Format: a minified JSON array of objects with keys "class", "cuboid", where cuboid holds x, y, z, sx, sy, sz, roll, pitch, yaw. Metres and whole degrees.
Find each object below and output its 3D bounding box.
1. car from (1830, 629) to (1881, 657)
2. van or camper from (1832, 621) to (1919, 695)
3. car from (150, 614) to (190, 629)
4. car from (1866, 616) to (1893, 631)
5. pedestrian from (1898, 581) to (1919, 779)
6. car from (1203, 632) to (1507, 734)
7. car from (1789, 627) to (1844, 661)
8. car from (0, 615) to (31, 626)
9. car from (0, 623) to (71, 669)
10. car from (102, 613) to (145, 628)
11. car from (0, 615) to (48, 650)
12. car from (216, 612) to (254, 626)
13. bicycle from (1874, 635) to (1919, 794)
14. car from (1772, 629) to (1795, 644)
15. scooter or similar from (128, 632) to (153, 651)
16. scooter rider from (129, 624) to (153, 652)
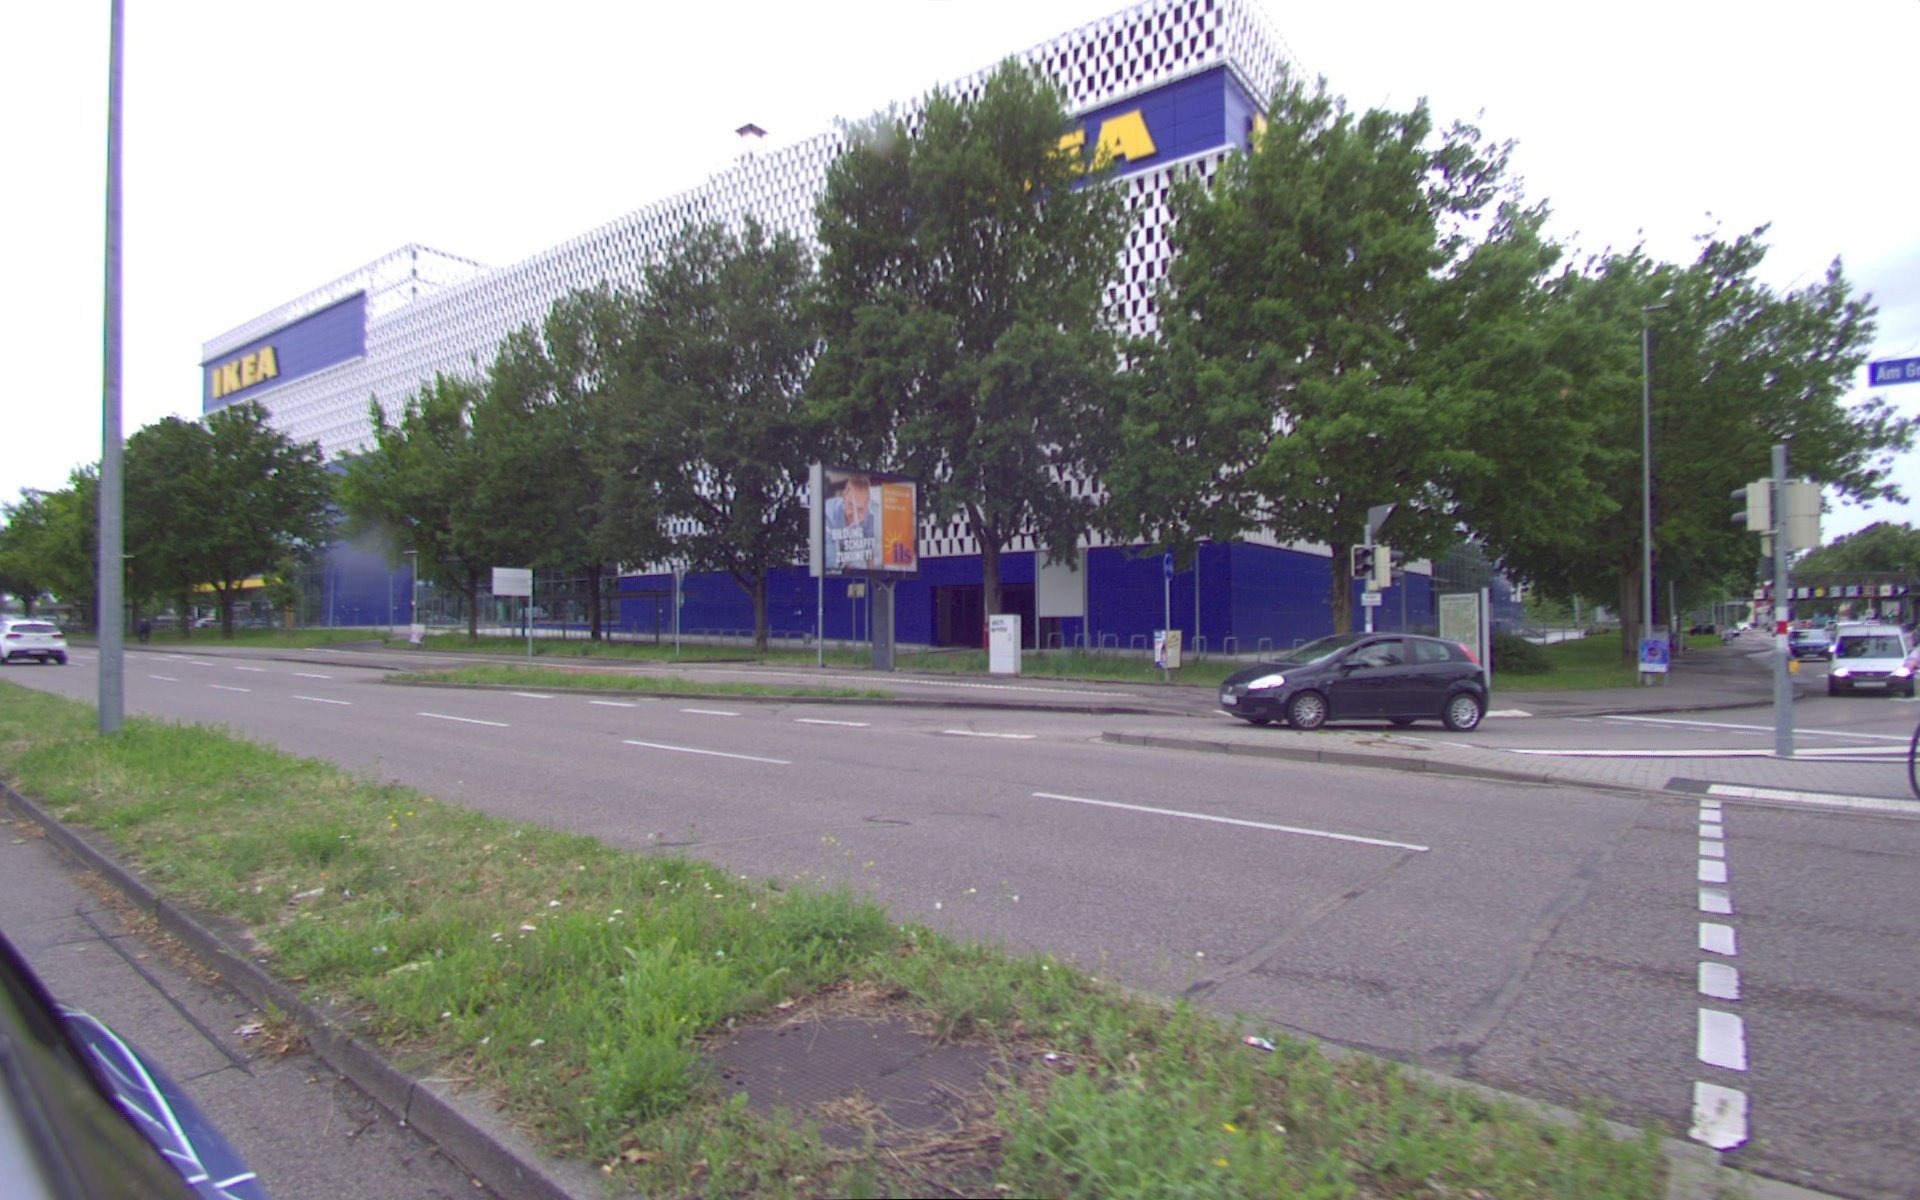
[{"class":"car","cuboid":[60.958,2.907,68.932,1.996,1.606,4.521,-6,-4,36]},{"class":"van or camper","cuboid":[23.419,1.462,25.405,2.001,1.735,4.330,-3,-4,45]},{"class":"car","cuboid":[-109.698,2.959,140.497,1.993,1.829,3.957,-1,1,31]},{"class":"car","cuboid":[113.736,2.906,125.208,2.140,1.674,3.733,0,1,38]},{"class":"pedestrian","cuboid":[7.968,0.640,7.966,0.638,1.560,0.656,2,0,-27]},{"class":"car","cuboid":[5.901,1.203,15.316,3.934,1.382,1.731,0,-3,-11]},{"class":"car","cuboid":[39.760,2.042,47.046,1.699,1.499,4.066,-3,-3,38]},{"class":"car","cuboid":[-174.249,3.794,186.447,1.740,1.837,4.241,-1,1,36]},{"class":"car","cuboid":[-31.422,1.508,33.797,3.926,1.463,1.765,-1,-2,36]},{"class":"car","cuboid":[-98.517,2.440,119.220,1.740,1.652,3.524,-1,1,36]},{"class":"car","cuboid":[-47.310,1.586,50.505,4.354,1.668,1.825,0,-3,38]},{"class":"car","cuboid":[-105.465,2.761,147.240,1.993,1.829,3.957,-1,1,31]},{"class":"bicycle","cuboid":[8.015,0.883,8.000,1.913,1.174,0.510,2,0,-27]},{"class":"car","cuboid":[89.334,3.916,109.753,1.861,1.473,4.274,-4,-3,40]},{"class":"scooter or similar","cuboid":[-51.630,2.595,63.760,1.416,1.134,0.585,-1,2,23]},{"class":"scooter rider","cuboid":[-51.589,2.381,63.766,1.032,1.733,0.791,-1,0,23]}]
